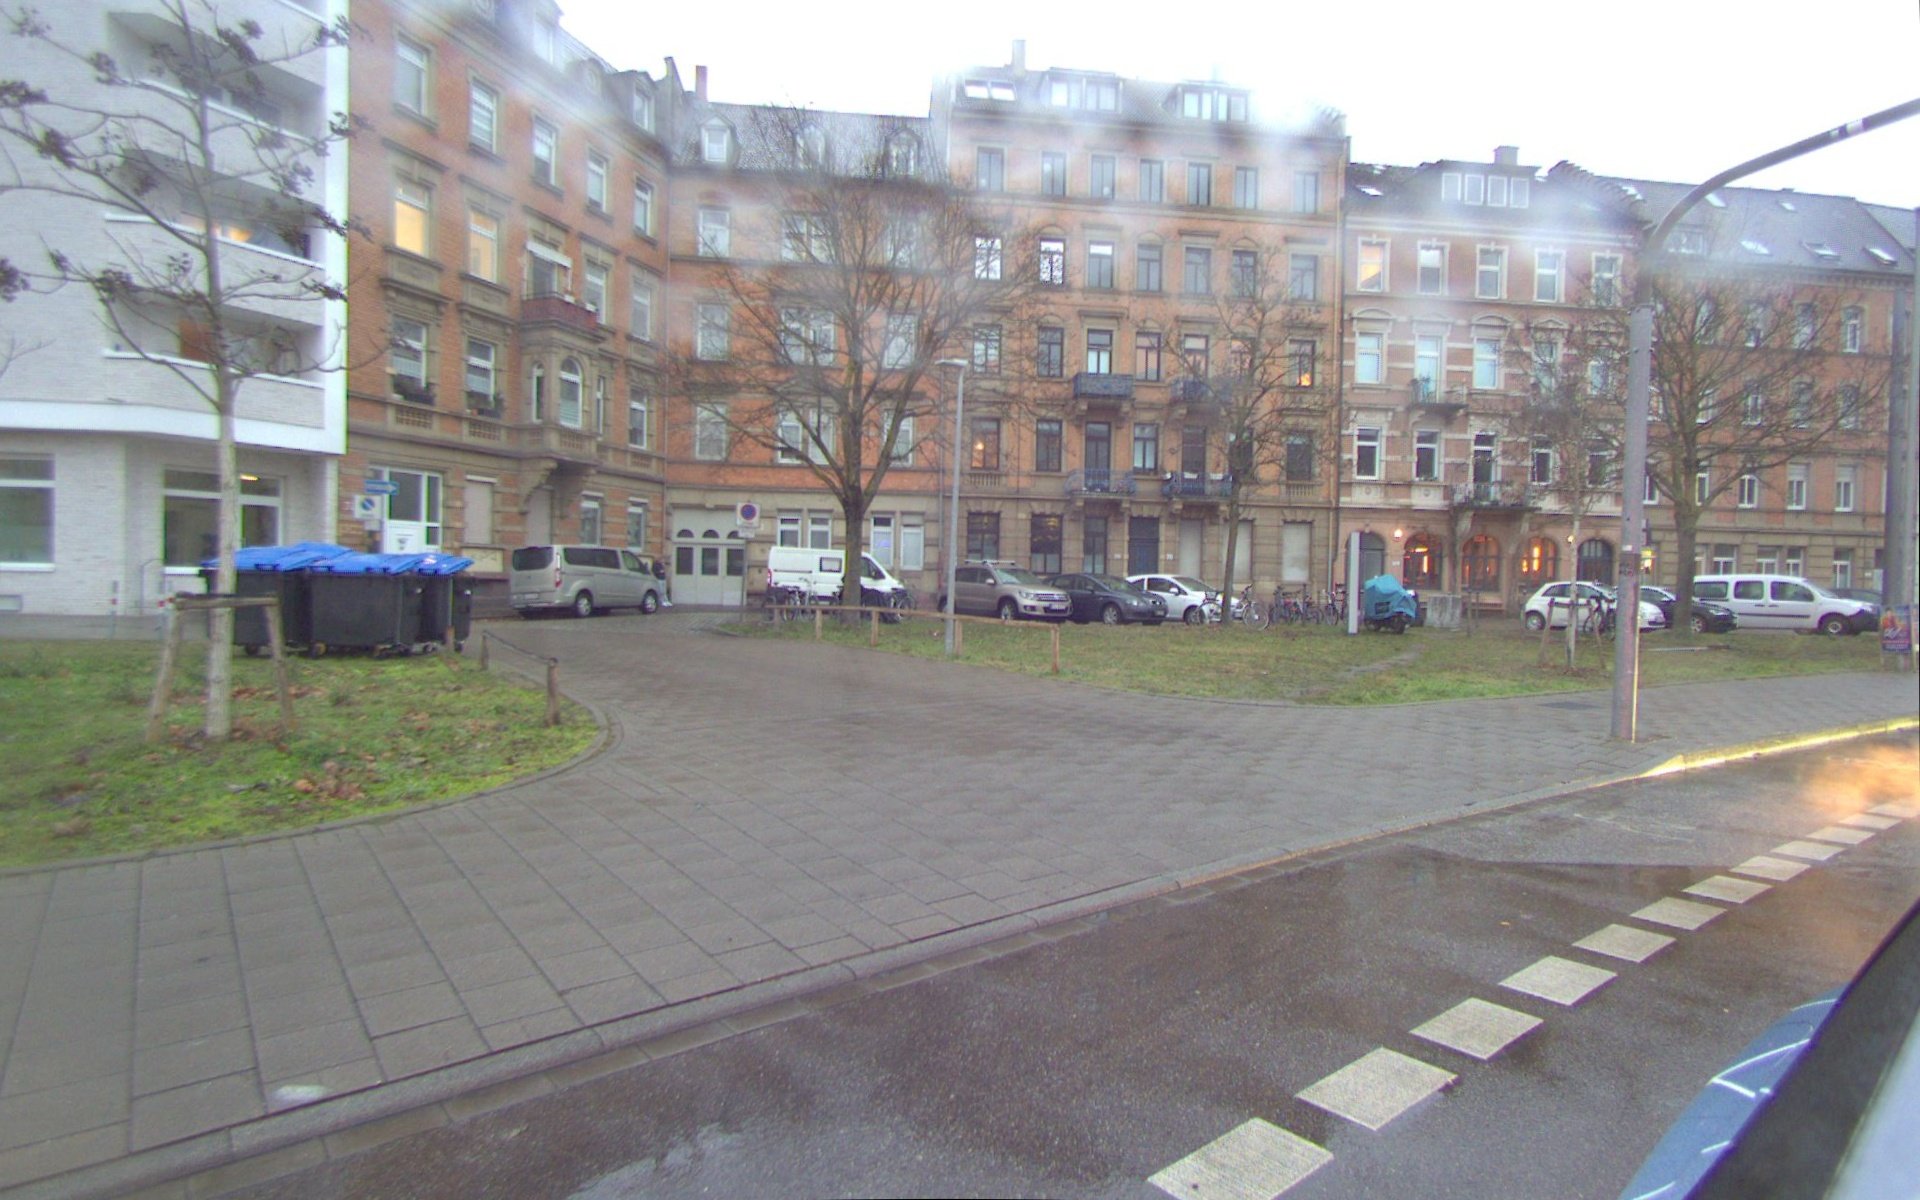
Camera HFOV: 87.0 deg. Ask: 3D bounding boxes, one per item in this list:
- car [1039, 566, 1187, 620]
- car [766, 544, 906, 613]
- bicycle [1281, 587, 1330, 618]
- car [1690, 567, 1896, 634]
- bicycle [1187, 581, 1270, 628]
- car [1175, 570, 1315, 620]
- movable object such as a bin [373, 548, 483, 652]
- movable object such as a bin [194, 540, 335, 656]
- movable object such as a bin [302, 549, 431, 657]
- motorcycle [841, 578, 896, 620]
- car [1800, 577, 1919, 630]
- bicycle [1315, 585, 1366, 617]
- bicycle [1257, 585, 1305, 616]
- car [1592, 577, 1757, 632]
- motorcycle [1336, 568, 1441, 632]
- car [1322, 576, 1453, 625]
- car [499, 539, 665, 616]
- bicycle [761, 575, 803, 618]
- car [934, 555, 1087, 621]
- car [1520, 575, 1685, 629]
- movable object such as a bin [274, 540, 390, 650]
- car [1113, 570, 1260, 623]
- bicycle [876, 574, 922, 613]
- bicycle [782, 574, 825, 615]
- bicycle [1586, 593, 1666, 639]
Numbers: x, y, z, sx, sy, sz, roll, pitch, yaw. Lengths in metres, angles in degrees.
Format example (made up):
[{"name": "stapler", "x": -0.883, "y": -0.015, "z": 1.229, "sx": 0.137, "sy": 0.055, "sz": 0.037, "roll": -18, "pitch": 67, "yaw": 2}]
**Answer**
[{"name": "car", "x": 3.933, "y": -0.216, "z": 26.542, "sx": 1.710, "sy": 1.322, "sz": 3.687, "roll": 0, "pitch": 1, "yaw": -37}, {"name": "car", "x": -4.241, "y": -0.725, "z": 34.451, "sx": 4.565, "sy": 2.216, "sz": 2.003, "roll": 1, "pitch": 1, "yaw": -8}, {"name": "bicycle", "x": 10.025, "y": 0.048, "z": 29.447, "sx": 0.436, "sy": 0.787, "sz": 1.800, "roll": 1, "pitch": 3, "yaw": -13}, {"name": "car", "x": 24.150, "y": -0.051, "z": 29.493, "sx": 1.748, "sy": 1.790, "sz": 4.344, "roll": 0, "pitch": 1, "yaw": -37}, {"name": "bicycle", "x": 6.471, "y": 0.095, "z": 24.483, "sx": 1.879, "sy": 1.031, "sz": 0.535, "roll": 2, "pitch": 3, "yaw": 14}, {"name": "car", "x": 8.042, "y": -0.171, "z": 28.832, "sx": 1.493, "sy": 1.322, "sz": 3.687, "roll": 0, "pitch": 1, "yaw": -37}, {"name": "movable object such as a bin", "x": -8.032, "y": -0.009, "z": 15.340, "sx": 1.118, "sy": 1.504, "sz": 1.053, "roll": 1, "pitch": 1, "yaw": -1}, {"name": "movable object such as a bin", "x": -9.615, "y": -0.041, "z": 14.037, "sx": 1.229, "sy": 1.529, "sz": 1.053, "roll": 1, "pitch": 1, "yaw": -1}, {"name": "movable object such as a bin", "x": -8.310, "y": 0.028, "z": 14.220, "sx": 1.201, "sy": 1.450, "sz": 1.053, "roll": 1, "pitch": 1, "yaw": -1}, {"name": "motorcycle", "x": -2.317, "y": -0.037, "z": 25.449, "sx": 0.503, "sy": 0.942, "sz": 1.796, "roll": 0, "pitch": 3, "yaw": -36}, {"name": "car", "x": 27.164, "y": 0.082, "z": 29.363, "sx": 1.668, "sy": 1.463, "sz": 3.968, "roll": 1, "pitch": 1, "yaw": -31}, {"name": "bicycle", "x": 11.165, "y": 0.023, "z": 29.768, "sx": 0.386, "sy": 0.827, "sz": 1.800, "roll": 1, "pitch": 3, "yaw": -16}, {"name": "bicycle", "x": 9.347, "y": -0.002, "z": 29.510, "sx": 0.436, "sy": 0.804, "sz": 1.800, "roll": 1, "pitch": 3, "yaw": -13}, {"name": "car", "x": 20.905, "y": 0.088, "z": 29.733, "sx": 1.492, "sy": 1.455, "sz": 3.688, "roll": 0, "pitch": 1, "yaw": -36}, {"name": "motorcycle", "x": 10.366, "y": -0.040, "z": 24.600, "sx": 0.866, "sy": 1.362, "sz": 2.364, "roll": 0, "pitch": 4, "yaw": -22}, {"name": "car", "x": 12.750, "y": -0.016, "z": 30.328, "sx": 1.492, "sy": 1.322, "sz": 3.301, "roll": 0, "pitch": 1, "yaw": -36}, {"name": "car", "x": -10.528, "y": -0.637, "z": 28.599, "sx": 1.919, "sy": 1.966, "sz": 4.569, "roll": 1, "pitch": 1, "yaw": 20}, {"name": "bicycle", "x": -4.464, "y": -0.103, "z": 25.305, "sx": 0.437, "sy": 0.942, "sz": 1.798, "roll": 0, "pitch": 3, "yaw": -30}, {"name": "car", "x": 1.234, "y": -0.349, "z": 26.441, "sx": 1.710, "sy": 1.589, "sz": 4.155, "roll": 0, "pitch": 1, "yaw": -37}, {"name": "car", "x": 18.327, "y": 0.010, "z": 28.986, "sx": 1.492, "sy": 1.417, "sz": 3.688, "roll": 0, "pitch": 1, "yaw": -36}, {"name": "movable object such as a bin", "x": -9.542, "y": -0.080, "z": 15.423, "sx": 1.118, "sy": 1.595, "sz": 1.053, "roll": 1, "pitch": 1, "yaw": -1}, {"name": "car", "x": 6.067, "y": -0.133, "z": 27.423, "sx": 1.638, "sy": 1.322, "sz": 3.687, "roll": 0, "pitch": 1, "yaw": -37}, {"name": "bicycle", "x": -1.665, "y": -0.184, "z": 27.392, "sx": 0.437, "sy": 0.942, "sz": 1.798, "roll": 0, "pitch": 3, "yaw": -30}, {"name": "bicycle", "x": -3.977, "y": -0.159, "z": 25.609, "sx": 0.437, "sy": 0.942, "sz": 1.798, "roll": 0, "pitch": 3, "yaw": -30}, {"name": "bicycle", "x": 15.557, "y": 0.364, "z": 23.691, "sx": 0.437, "sy": 0.942, "sz": 1.799, "roll": 1, "pitch": 3, "yaw": -8}]
